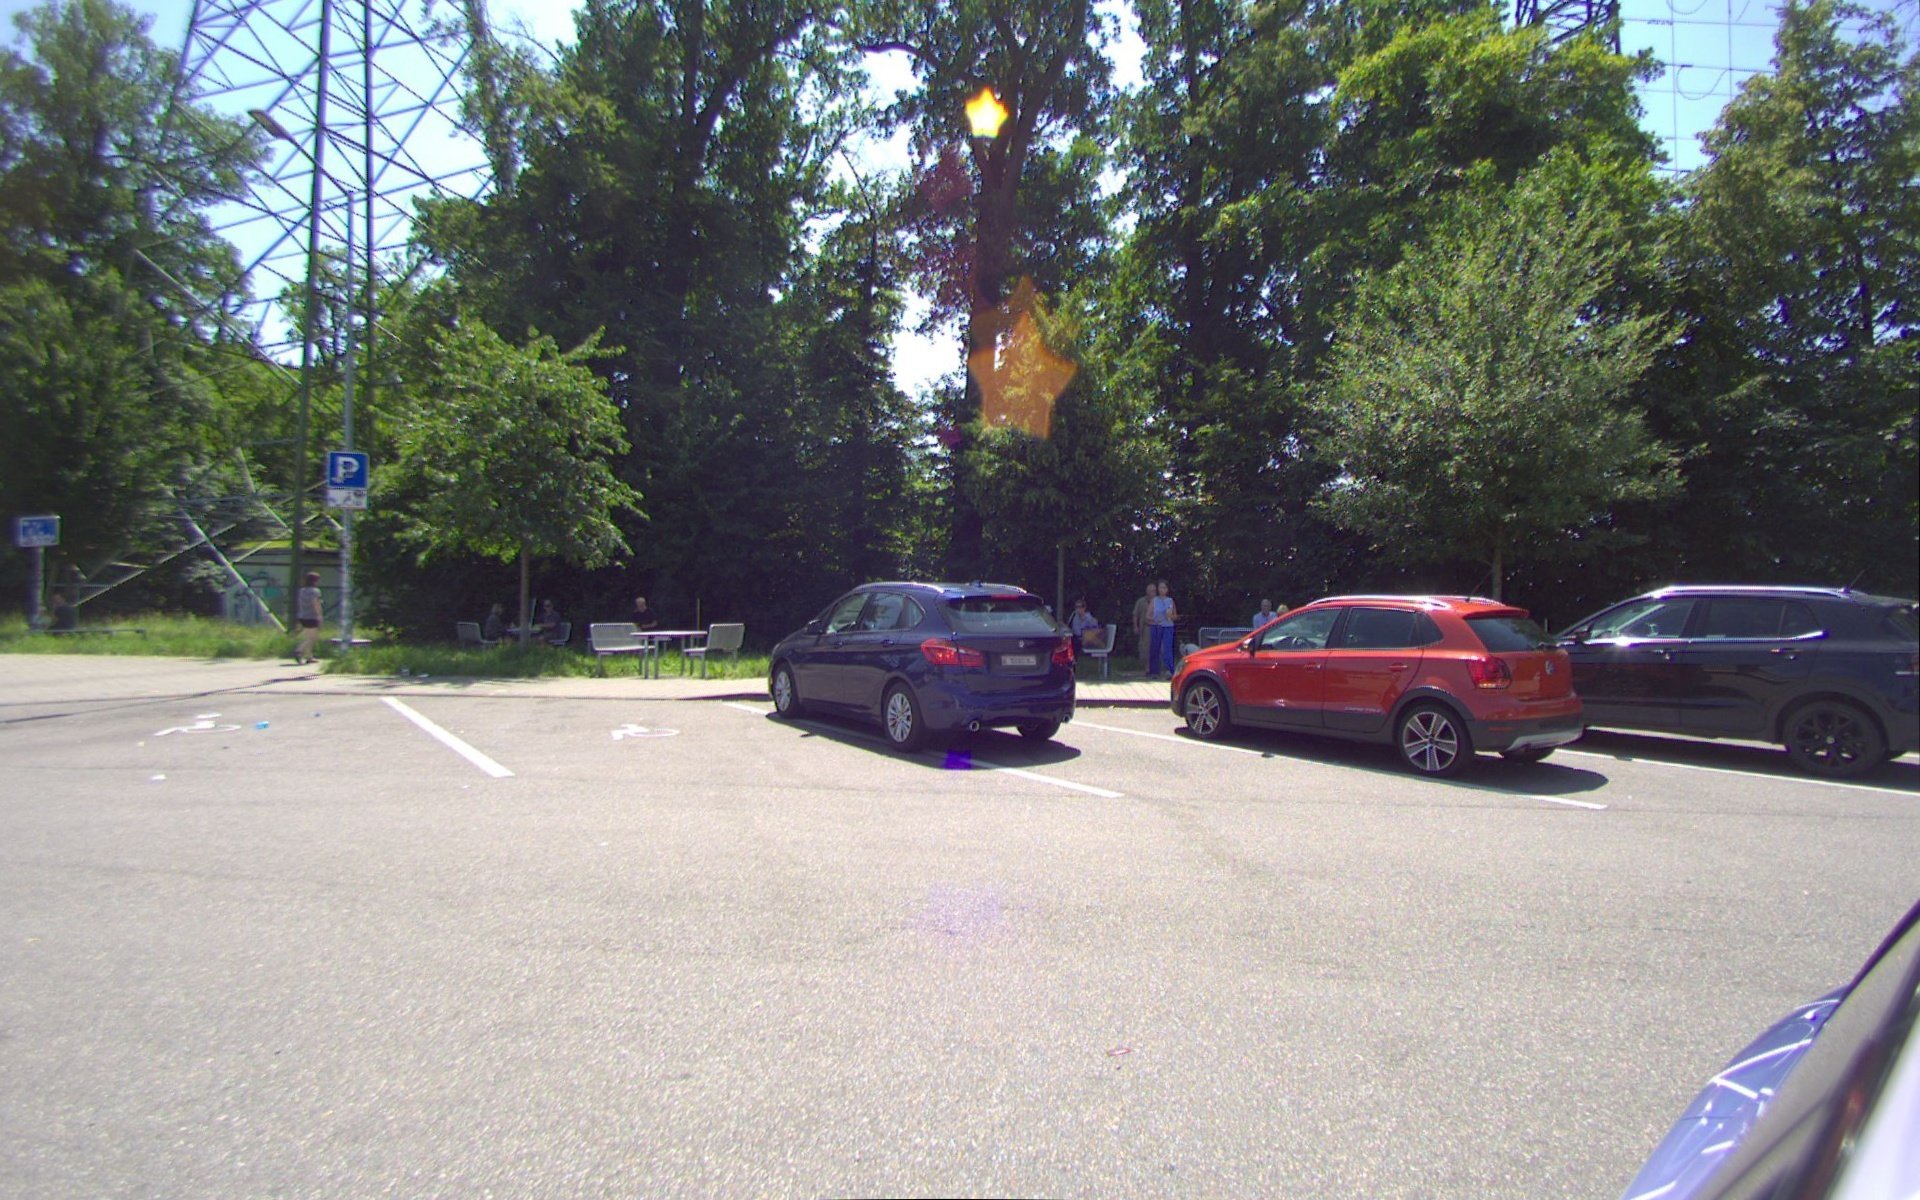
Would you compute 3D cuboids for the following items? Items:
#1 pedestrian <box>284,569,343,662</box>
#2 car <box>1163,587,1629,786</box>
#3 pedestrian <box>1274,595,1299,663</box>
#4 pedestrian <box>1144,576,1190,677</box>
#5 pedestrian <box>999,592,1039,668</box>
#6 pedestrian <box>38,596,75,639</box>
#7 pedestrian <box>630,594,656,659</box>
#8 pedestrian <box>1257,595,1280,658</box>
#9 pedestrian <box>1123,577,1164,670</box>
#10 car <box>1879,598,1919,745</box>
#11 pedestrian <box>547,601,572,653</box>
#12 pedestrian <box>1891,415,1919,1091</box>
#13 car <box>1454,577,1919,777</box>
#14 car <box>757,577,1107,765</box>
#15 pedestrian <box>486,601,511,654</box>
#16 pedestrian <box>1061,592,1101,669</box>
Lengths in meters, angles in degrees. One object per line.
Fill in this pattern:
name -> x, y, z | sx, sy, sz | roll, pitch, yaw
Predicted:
pedestrian -> -11.993, 0.279, 18.781 | 0.681, 1.670, 0.707 | 0, 0, 30
car -> 3.889, 0.634, 9.644 | 1.619, 1.487, 3.830 | 0, 0, -33
pedestrian -> 5.780, 0.505, 17.945 | 0.350, 1.180, 0.384 | 0, 0, 8
pedestrian -> 3.395, 0.428, 16.635 | 0.635, 1.625, 0.572 | 0, 0, 2
pedestrian -> 0.998, 0.498, 17.108 | 0.586, 1.261, 0.445 | 0, 0, 16
pedestrian -> -20.942, 0.405, 23.456 | 0.452, 0.987, 0.447 | 0, 0, -2
pedestrian -> -6.677, 0.550, 21.343 | 0.438, 1.363, 0.462 | 0, 0, -5
pedestrian -> 5.829, 0.494, 19.121 | 0.350, 1.180, 0.384 | 0, 0, 8
pedestrian -> 3.260, 0.415, 18.016 | 0.635, 1.625, 0.572 | 0, 0, 2
car -> 10.905, 0.701, 9.005 | 1.620, 1.420, 3.826 | 0, 0, -37
pedestrian -> -9.335, 0.620, 23.596 | 0.452, 1.209, 0.447 | 0, 0, -34
pedestrian -> 3.122, 0.451, 2.523 | 0.801, 1.974, 0.917 | 0, 0, 12
car -> 7.105, 0.592, 9.860 | 1.620, 1.575, 3.826 | 0, 0, -37
car -> -0.533, 0.552, 10.784 | 1.714, 1.572, 4.347 | 0, 1, -33
pedestrian -> -10.424, 0.619, 22.855 | 0.452, 1.182, 0.447 | 0, 0, -34
pedestrian -> 2.012, 0.495, 16.852 | 0.586, 1.261, 0.498 | 0, 0, 16
